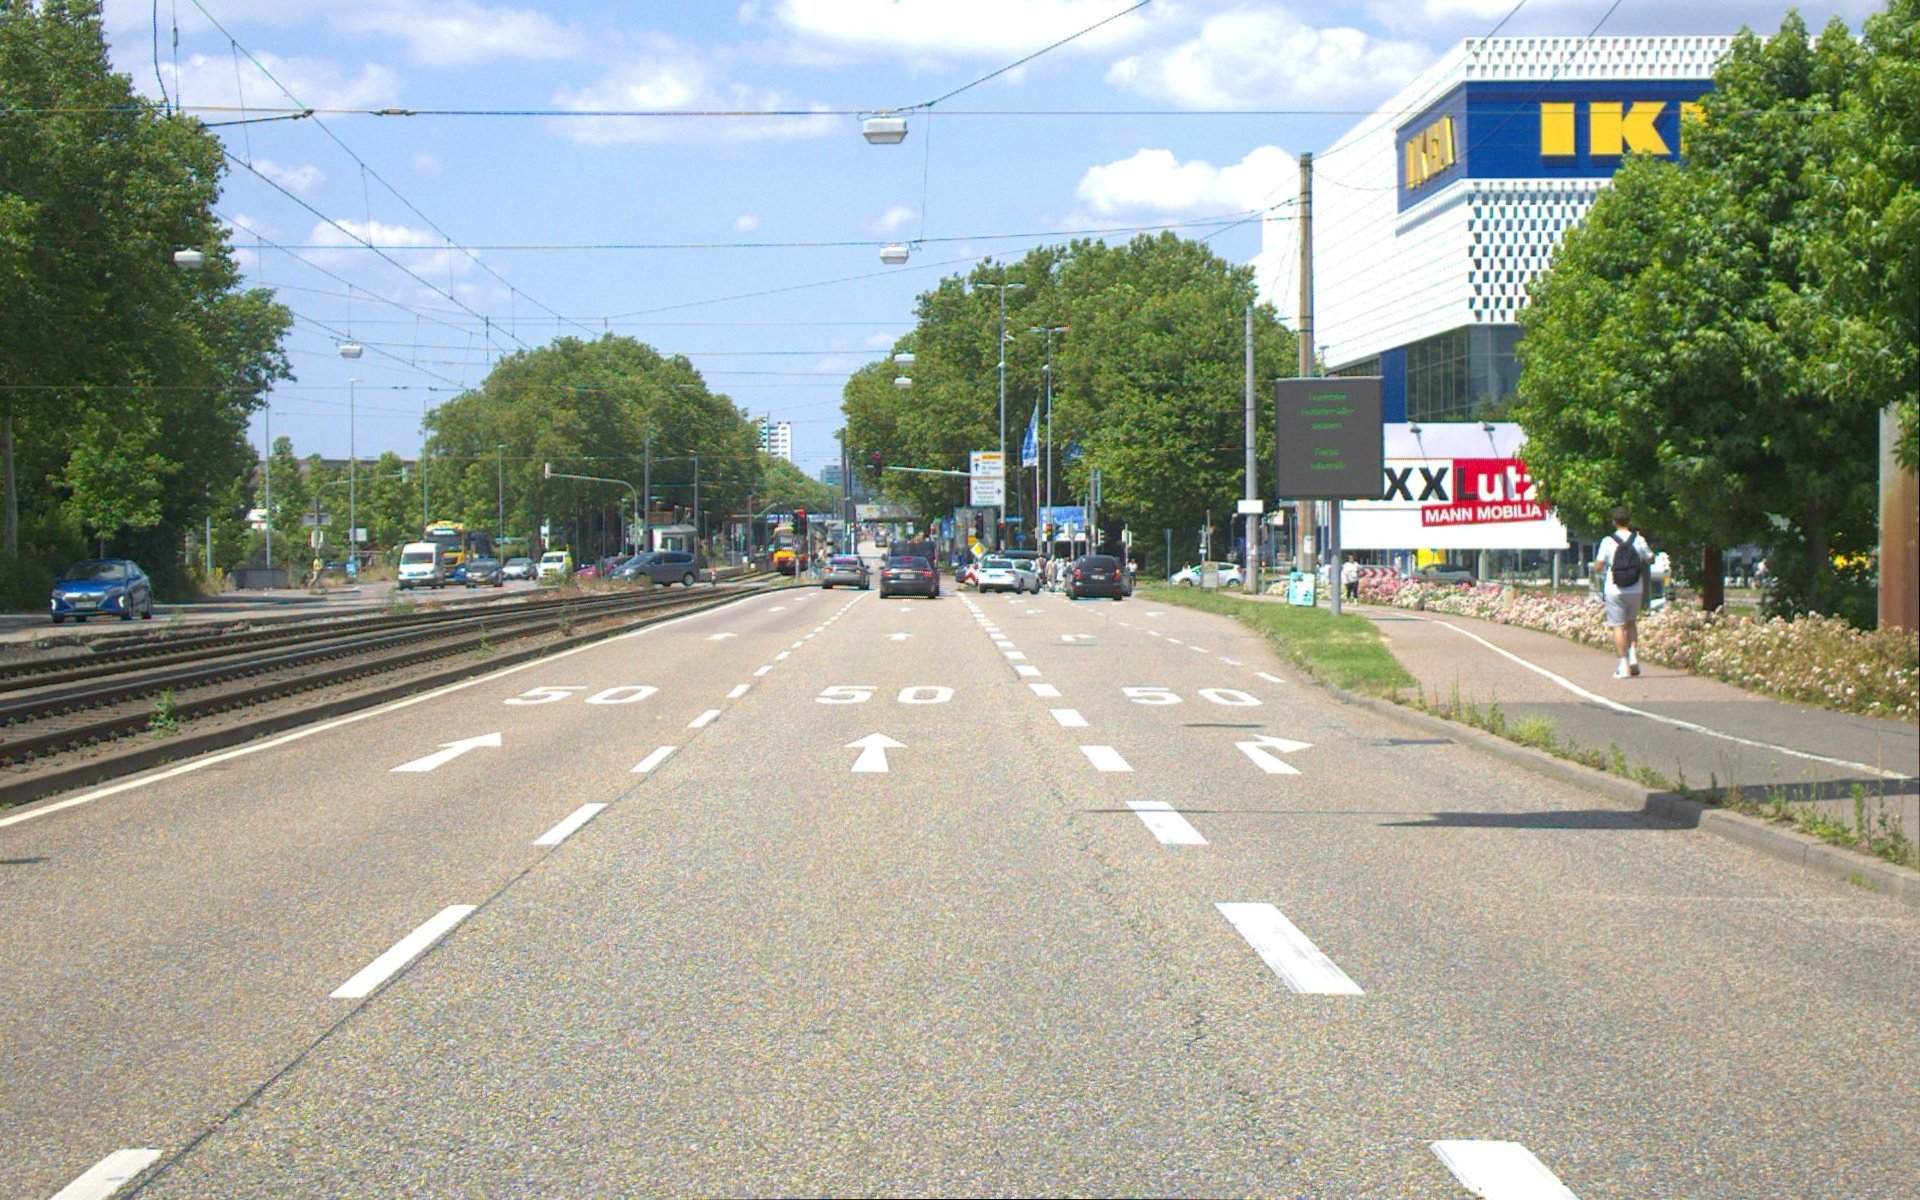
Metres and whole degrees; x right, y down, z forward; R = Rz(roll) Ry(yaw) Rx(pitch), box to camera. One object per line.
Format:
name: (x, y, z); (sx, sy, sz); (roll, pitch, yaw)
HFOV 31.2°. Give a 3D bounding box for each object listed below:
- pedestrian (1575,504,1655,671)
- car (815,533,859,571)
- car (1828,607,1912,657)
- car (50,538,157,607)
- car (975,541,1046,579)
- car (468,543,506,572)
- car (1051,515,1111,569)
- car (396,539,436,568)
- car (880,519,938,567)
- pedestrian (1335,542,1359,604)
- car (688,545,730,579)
pedestrian: (7.131, -0.141, 37.454); (0.669, 1.786, 0.924); (1, 1, 1)
car: (-5.293, -2.075, 147.811); (1.842, 1.544, 3.777); (1, 1, -2)
car: (30.029, 1.051, 113.578); (1.571, 1.477, 3.889); (1, 1, -2)
car: (-20.138, -0.664, 81.001); (1.644, 1.545, 4.217); (1, 1, -3)
car: (2.159, -1.722, 146.030); (1.687, 1.544, 3.979); (2, 1, 22)
car: (-26.348, -2.392, 191.458); (1.623, 1.544, 3.704); (1, 1, -1)
car: (4.204, -2.042, 120.234); (1.899, 1.799, 3.977); (1, 1, 0)
car: (-30.123, -2.569, 190.429); (1.623, 1.544, 3.704); (1, 1, -1)
car: (-1.711, -1.923, 114.912); (1.876, 1.534, 3.777); (1, 1, -1)
pedestrian: (11.211, -0.774, 99.659); (0.580, 1.786, 0.590); (1, 1, -3)
car: (-12.046, -1.828, 165.100); (1.842, 1.544, 3.777); (1, 1, -2)
